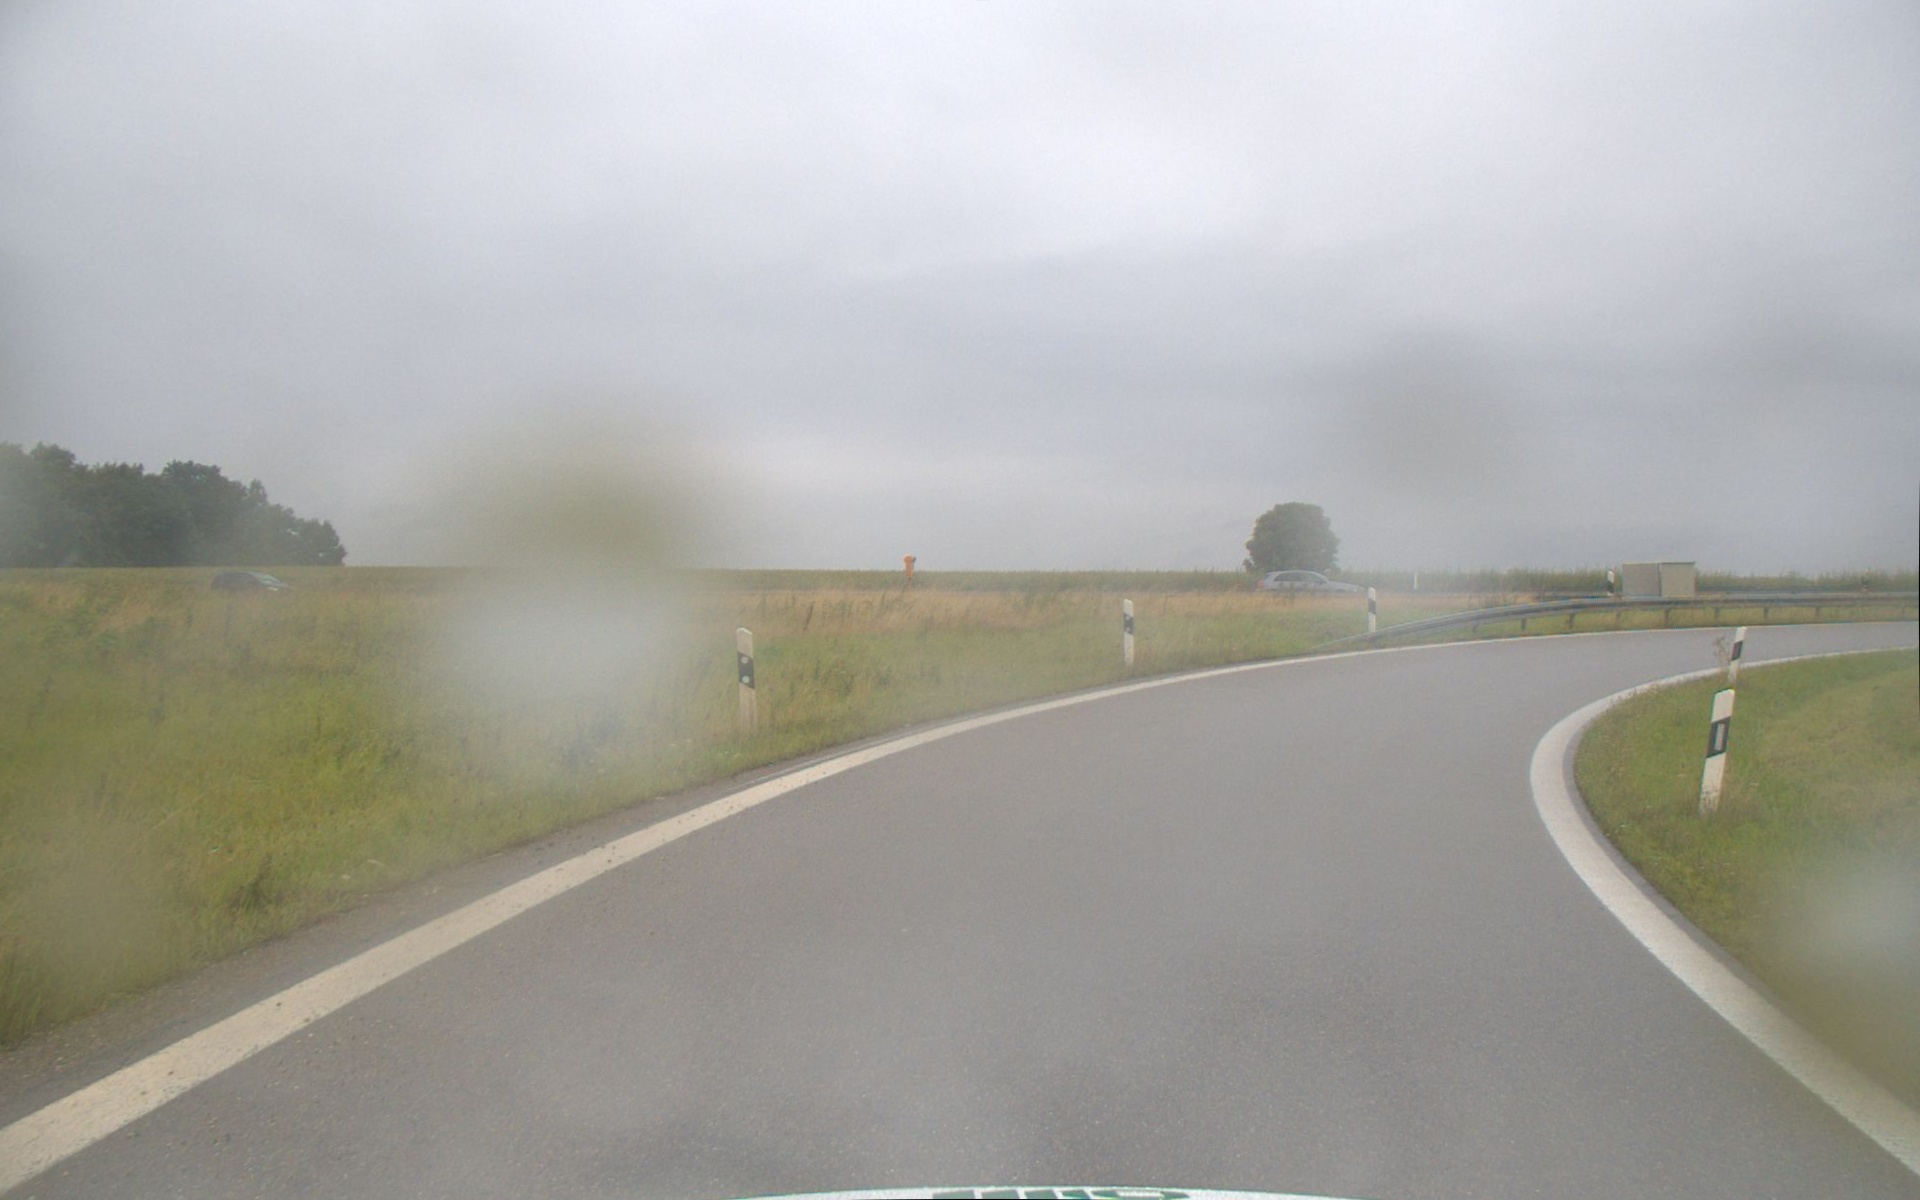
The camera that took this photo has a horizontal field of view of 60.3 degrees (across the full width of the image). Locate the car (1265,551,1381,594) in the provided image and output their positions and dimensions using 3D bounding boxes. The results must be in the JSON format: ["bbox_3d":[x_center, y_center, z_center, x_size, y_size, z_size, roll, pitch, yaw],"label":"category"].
[{"bbox_3d":[14.377,-1.091,65.430,4.246,1.664,2.060,0,1,21],"label":"car"}]

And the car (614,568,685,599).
[{"bbox_3d":[-18.845,-1.001,100.431,3.903,1.767,1.736,0,1,17],"label":"car"}]

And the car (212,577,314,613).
[{"bbox_3d":[-34.758,-0.264,82.473,4.486,1.664,2.153,1,1,21],"label":"car"}]
